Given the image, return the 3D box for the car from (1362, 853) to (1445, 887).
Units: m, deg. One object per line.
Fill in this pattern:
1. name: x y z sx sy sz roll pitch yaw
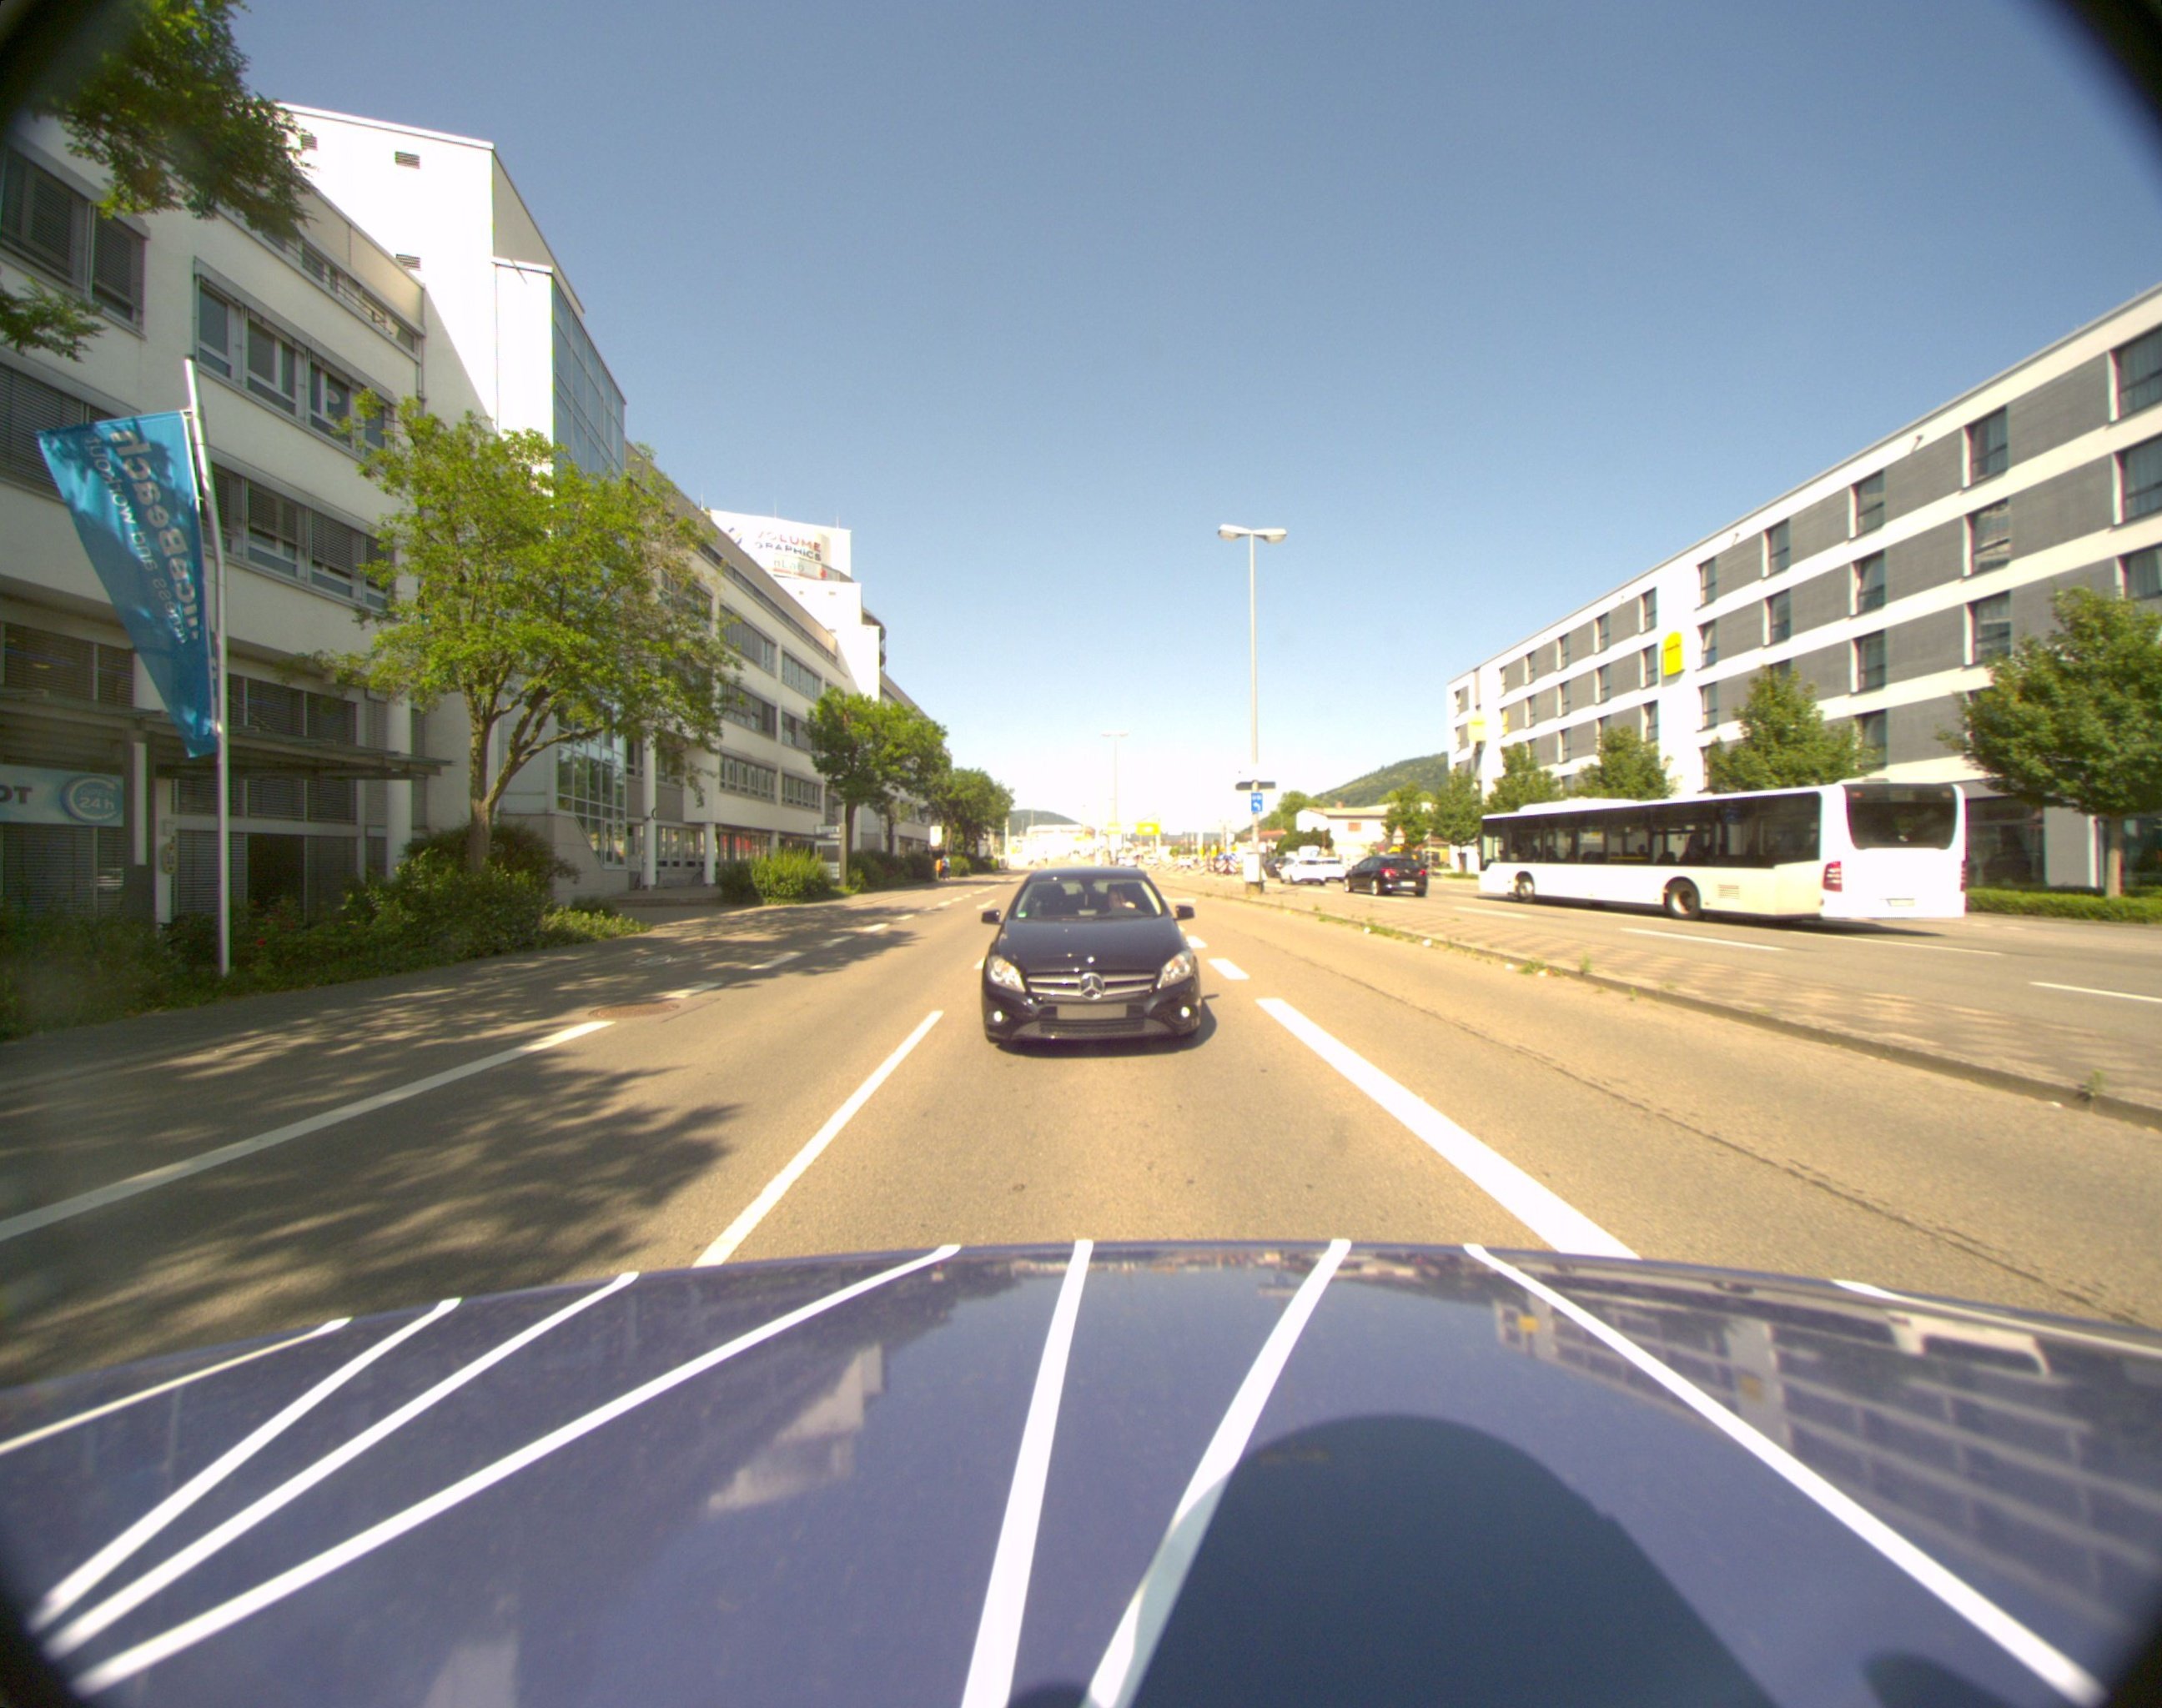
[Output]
1. car: 15.402 0.725 36.609 1.998 1.514 4.891 -1 0 1

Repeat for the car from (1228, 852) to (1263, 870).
1. car: 14.167 0.568 65.638 1.998 1.514 4.891 -1 0 1

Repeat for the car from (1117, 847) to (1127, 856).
1. car: 9.977 -0.597 185.148 1.997 2.002 4.003 -1 0 10

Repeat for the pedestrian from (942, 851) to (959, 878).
1. pedestrian: -9.243 0.734 53.908 0.942 1.875 1.289 2 1 0

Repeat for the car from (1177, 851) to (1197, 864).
1. car: 13.825 0.433 99.129 1.998 1.702 4.891 -1 0 1

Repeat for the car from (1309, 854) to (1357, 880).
1. car: 16.262 0.819 49.231 1.719 1.609 3.591 -1 0 -3

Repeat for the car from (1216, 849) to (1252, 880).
1. car: 10.756 0.675 53.734 1.679 2.002 4.164 -2 1 1

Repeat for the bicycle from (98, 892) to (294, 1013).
1. bicycle: -11.261 1.188 9.778 0.506 1.321 1.883 0 0 -8

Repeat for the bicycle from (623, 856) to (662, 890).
1. bicycle: -18.057 0.770 31.339 0.506 1.346 1.884 -1 0 1

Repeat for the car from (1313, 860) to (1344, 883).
1. car: 13.964 0.979 42.982 1.058 1.200 2.220 -2 1 2

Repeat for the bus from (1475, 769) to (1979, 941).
1. bus: 14.800 -0.014 19.747 2.745 3.061 11.973 1 0 -1

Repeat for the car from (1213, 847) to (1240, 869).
1. car: 13.998 0.352 73.334 1.998 2.002 4.000 -2 1 3

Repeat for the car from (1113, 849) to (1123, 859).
1. car: 7.868 -0.025 162.418 1.998 2.002 3.999 -2 1 1

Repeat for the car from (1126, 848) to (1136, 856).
1. car: 10.991 -0.478 166.858 1.998 1.725 4.000 -1 0 0

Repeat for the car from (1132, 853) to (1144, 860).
1. car: 11.014 0.472 146.742 1.815 1.328 3.937 -1 0 -3

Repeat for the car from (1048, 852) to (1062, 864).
1. car: -4.503 0.681 132.062 1.998 2.002 4.000 -2 1 2

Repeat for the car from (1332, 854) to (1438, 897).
1. car: 11.272 0.748 28.607 1.998 1.424 4.890 -1 0 0

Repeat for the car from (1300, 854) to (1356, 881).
1. car: 14.428 0.756 44.667 1.858 1.530 3.977 1 0 -2

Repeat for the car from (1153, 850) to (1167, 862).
1. car: 13.679 0.271 131.539 1.999 2.002 3.999 0 0 -1

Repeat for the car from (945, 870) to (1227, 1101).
1. car: 0.059 0.950 7.513 1.905 1.431 4.693 -1 0 1

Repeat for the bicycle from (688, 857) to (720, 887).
1. bicycle: -17.717 0.818 35.737 0.506 1.346 1.884 -1 0 1

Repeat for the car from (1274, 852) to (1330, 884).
1. car: 11.358 0.704 39.342 1.763 1.443 4.000 -2 1 1
